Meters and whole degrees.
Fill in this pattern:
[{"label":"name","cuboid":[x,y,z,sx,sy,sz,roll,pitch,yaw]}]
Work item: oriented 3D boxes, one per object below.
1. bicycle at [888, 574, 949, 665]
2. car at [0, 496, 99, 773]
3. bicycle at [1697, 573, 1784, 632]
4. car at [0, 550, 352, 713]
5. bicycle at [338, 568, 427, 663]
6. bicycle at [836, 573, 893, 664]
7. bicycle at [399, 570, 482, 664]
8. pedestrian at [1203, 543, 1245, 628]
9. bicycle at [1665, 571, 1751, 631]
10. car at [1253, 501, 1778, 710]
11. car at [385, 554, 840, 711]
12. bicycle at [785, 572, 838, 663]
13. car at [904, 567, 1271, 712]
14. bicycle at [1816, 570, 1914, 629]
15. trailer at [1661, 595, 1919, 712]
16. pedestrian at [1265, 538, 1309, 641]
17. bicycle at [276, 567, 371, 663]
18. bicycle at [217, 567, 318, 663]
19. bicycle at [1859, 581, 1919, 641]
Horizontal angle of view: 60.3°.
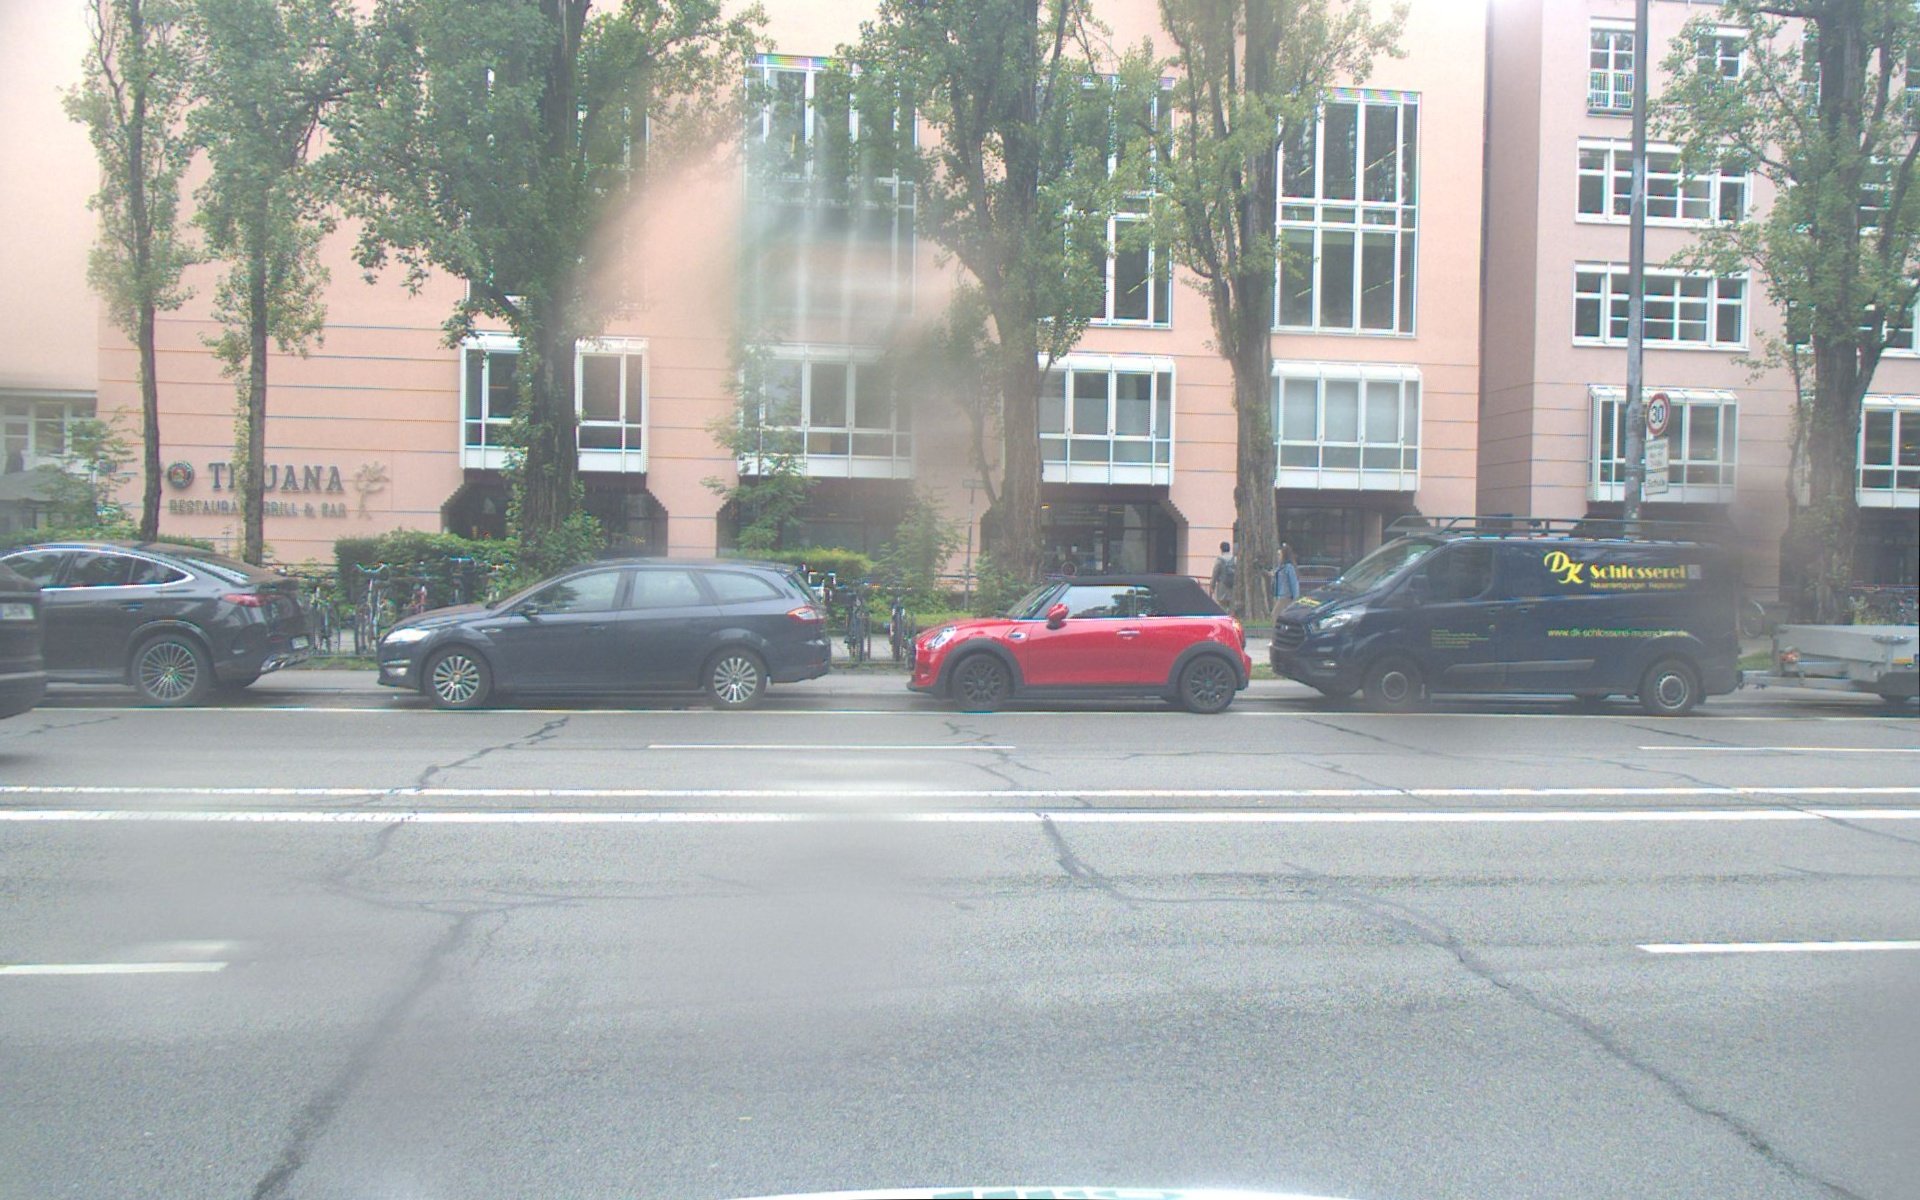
[{"label":"bicycle","cuboid":[-0.577,0.242,22.371,0.661,1.144,1.727,0,2,-7]},{"label":"car","cuboid":[-8.702,0.205,10.892,4.954,1.779,1.996,0,0,-9]},{"label":"bicycle","cuboid":[15.978,0.032,33.901,0.661,1.144,1.986,0,2,-7]},{"label":"car","cuboid":[-8.755,0.289,16.966,4.414,1.555,1.791,0,2,-8]},{"label":"bicycle","cuboid":[-7.465,0.170,21.452,0.661,1.144,1.986,0,2,-7]},{"label":"bicycle","cuboid":[-1.301,0.233,22.281,0.661,1.144,1.740,0,2,-7]},{"label":"bicycle","cuboid":[-6.732,0.193,21.535,0.661,1.144,1.986,0,2,-7]},{"label":"pedestrian","cuboid":[5.539,-0.312,34.714,0.693,1.743,0.731,1,1,-4]},{"label":"bicycle","cuboid":[15.267,0.000,33.801,0.661,1.144,1.986,0,2,-7]},{"label":"car","cuboid":[6.281,0.050,19.034,5.375,2.235,2.021,0,2,-7]},{"label":"car","cuboid":[-3.597,0.324,17.691,4.521,1.555,1.791,0,2,-8]},{"label":"bicycle","cuboid":[-2.008,0.218,22.198,0.661,1.144,1.740,0,2,-7]},{"label":"car","cuboid":[1.322,0.405,18.134,3.785,1.474,1.677,1,2,-5]},{"label":"bicycle","cuboid":[18.596,-0.029,34.053,0.661,1.144,2.104,0,2,-7]},{"label":"trailer","cuboid":[11.840,0.610,19.849,5.903,1.220,2.402,1,2,-7]},{"label":"pedestrian","cuboid":[5.436,-0.177,27.524,0.546,1.692,0.620,1,1,-3]},{"label":"bicycle","cuboid":[-8.203,0.166,21.385,0.661,1.144,1.986,0,2,-7]},{"label":"bicycle","cuboid":[-8.878,0.162,21.288,0.661,1.144,1.986,0,2,-7]},{"label":"bicycle","cuboid":[19.479,0.213,34.057,0.661,1.144,1.986,0,2,-7]}]
